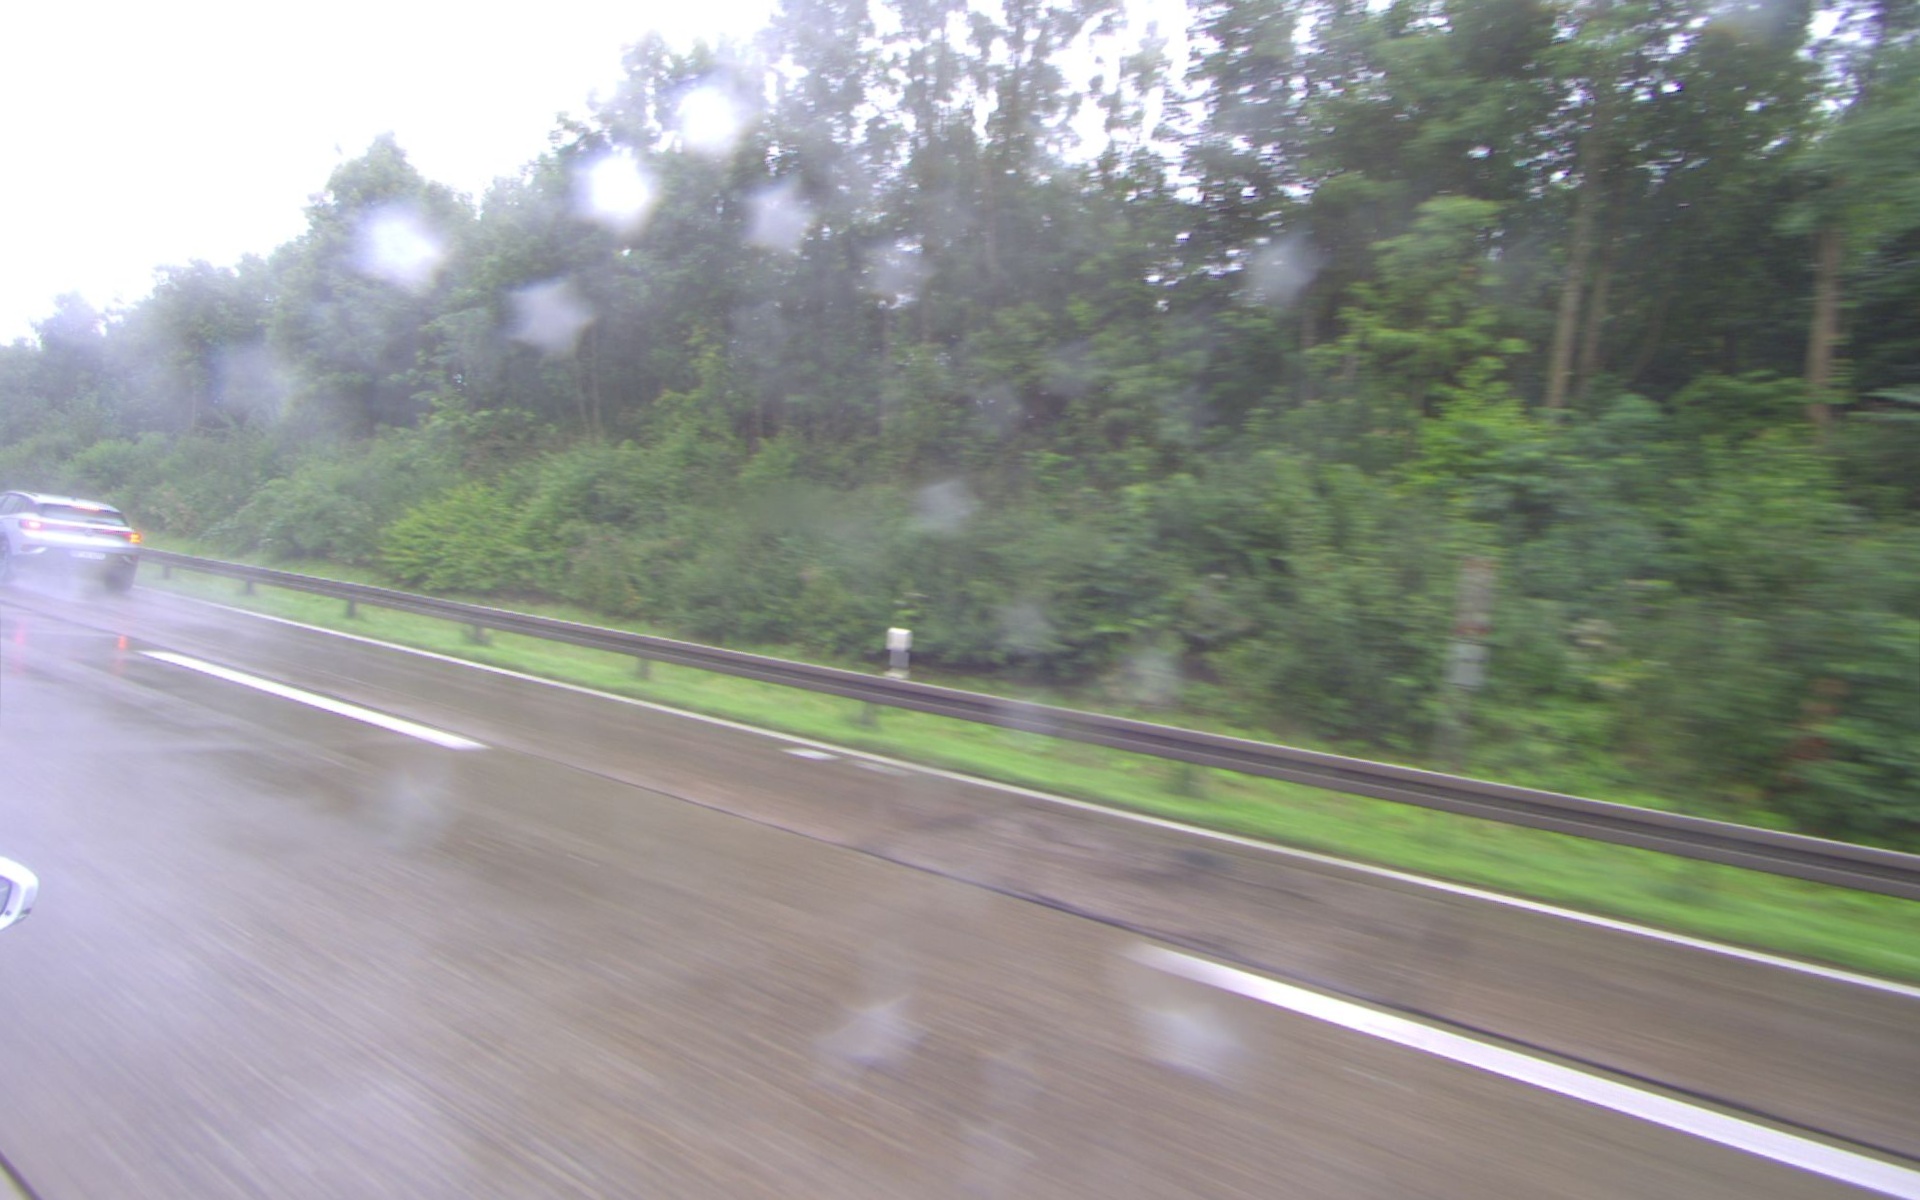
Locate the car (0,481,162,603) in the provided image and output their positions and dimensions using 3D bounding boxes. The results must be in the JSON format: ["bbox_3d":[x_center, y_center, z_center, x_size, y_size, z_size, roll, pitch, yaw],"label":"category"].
[{"bbox_3d":[-17.345,-1.190,18.739,5.569,1.771,1.997,6,-2,32],"label":"car"}]
